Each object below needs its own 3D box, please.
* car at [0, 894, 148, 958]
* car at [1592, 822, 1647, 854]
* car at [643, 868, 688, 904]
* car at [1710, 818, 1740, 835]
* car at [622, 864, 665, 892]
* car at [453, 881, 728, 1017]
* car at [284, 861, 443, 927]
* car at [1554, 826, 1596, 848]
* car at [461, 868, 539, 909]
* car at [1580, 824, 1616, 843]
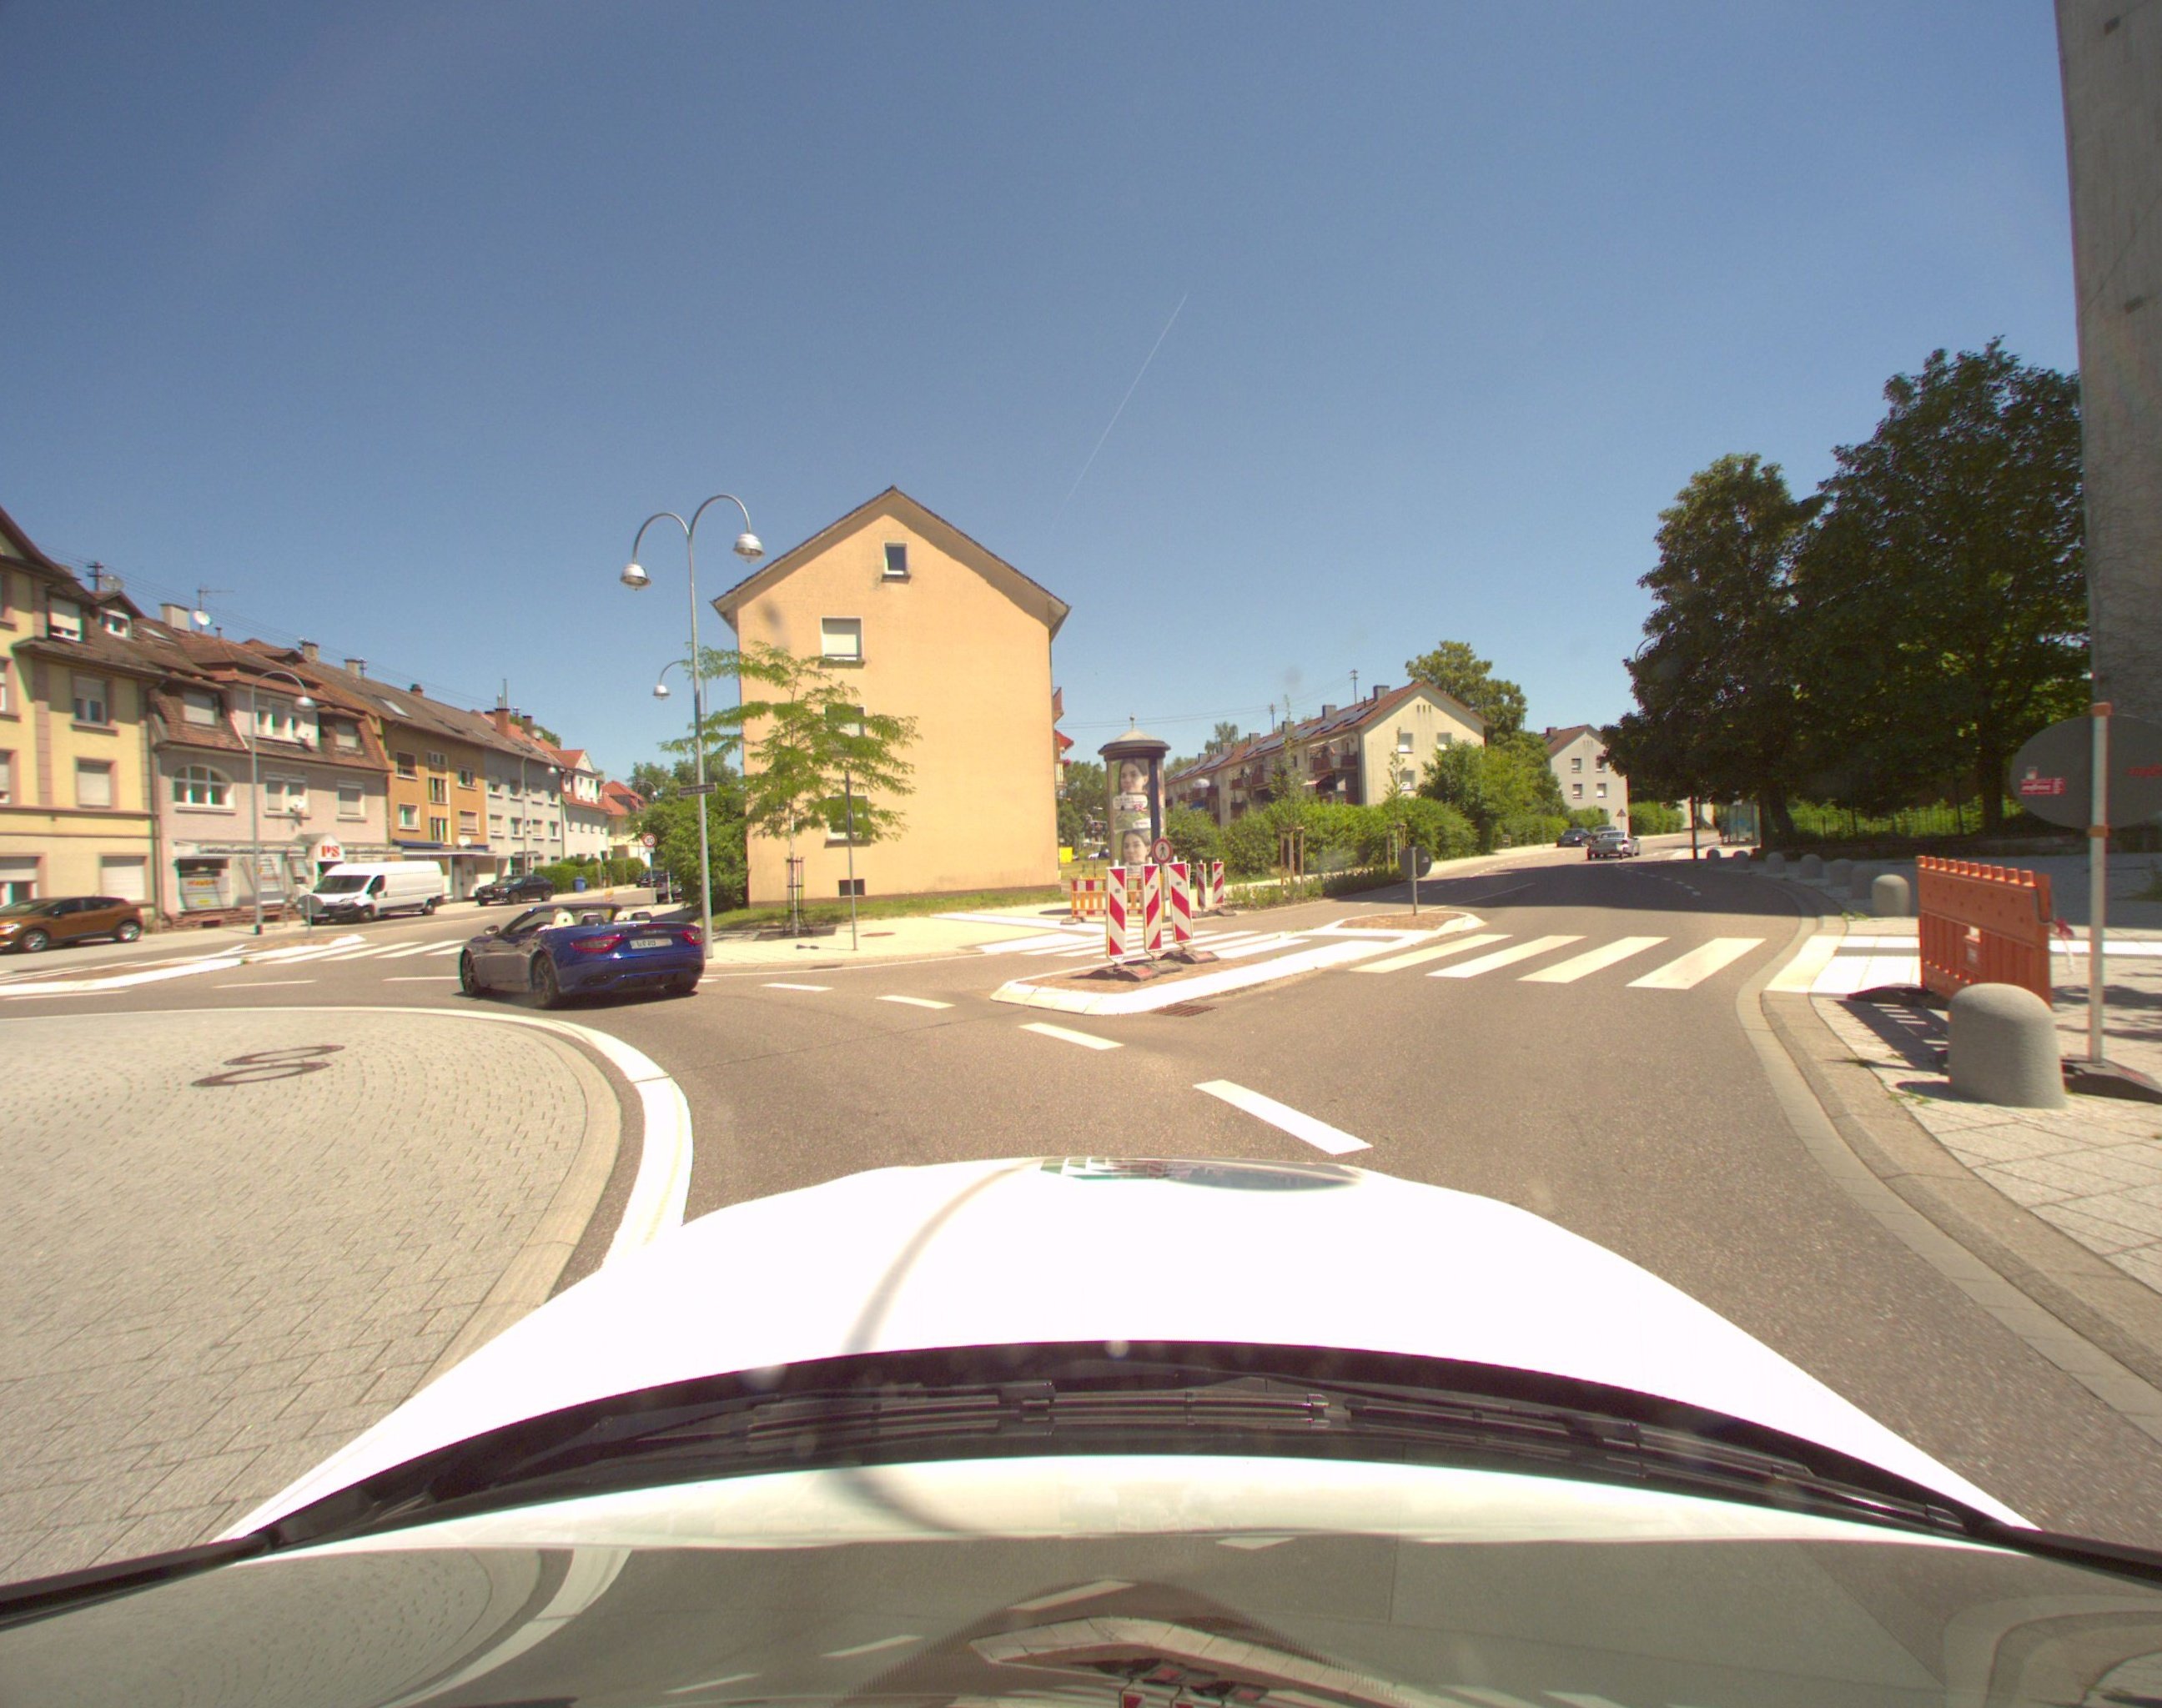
[{"bbox_3d":[-31.300,2.122,24.709,1.597,1.617,4.081,0,0,-7],"label":"car"},{"bbox_3d":[27.991,-0.857,42.268,1.722,1.436,3.734,-5,-1,43],"label":"car"},{"bbox_3d":[-21.191,1.596,41.646,1.888,1.631,3.561,-2,1,-25],"label":"car"},{"bbox_3d":[62.389,-2.665,78.899,3.733,1.436,1.722,-4,-1,-45],"label":"car"},{"bbox_3d":[-35.431,1.912,66.045,2.071,2.013,3.979,-3,0,-15],"label":"car"},{"bbox_3d":[-7.140,1.313,11.677,4.448,1.530,1.889,-6,-3,38],"label":"car"},{"bbox_3d":[-30.698,1.577,35.202,2.144,2.533,6.217,-1,0,-10],"label":"car"},{"bbox_3d":[37.421,-1.322,61.643,3.732,1.436,1.723,-4,-1,-44],"label":"car"},{"bbox_3d":[-32.487,1.881,45.690,2.070,2.013,3.982,-3,0,-13],"label":"car"},{"bbox_3d":[45.191,-1.821,71.130,3.732,1.436,1.723,-4,-1,-44],"label":"car"}]
